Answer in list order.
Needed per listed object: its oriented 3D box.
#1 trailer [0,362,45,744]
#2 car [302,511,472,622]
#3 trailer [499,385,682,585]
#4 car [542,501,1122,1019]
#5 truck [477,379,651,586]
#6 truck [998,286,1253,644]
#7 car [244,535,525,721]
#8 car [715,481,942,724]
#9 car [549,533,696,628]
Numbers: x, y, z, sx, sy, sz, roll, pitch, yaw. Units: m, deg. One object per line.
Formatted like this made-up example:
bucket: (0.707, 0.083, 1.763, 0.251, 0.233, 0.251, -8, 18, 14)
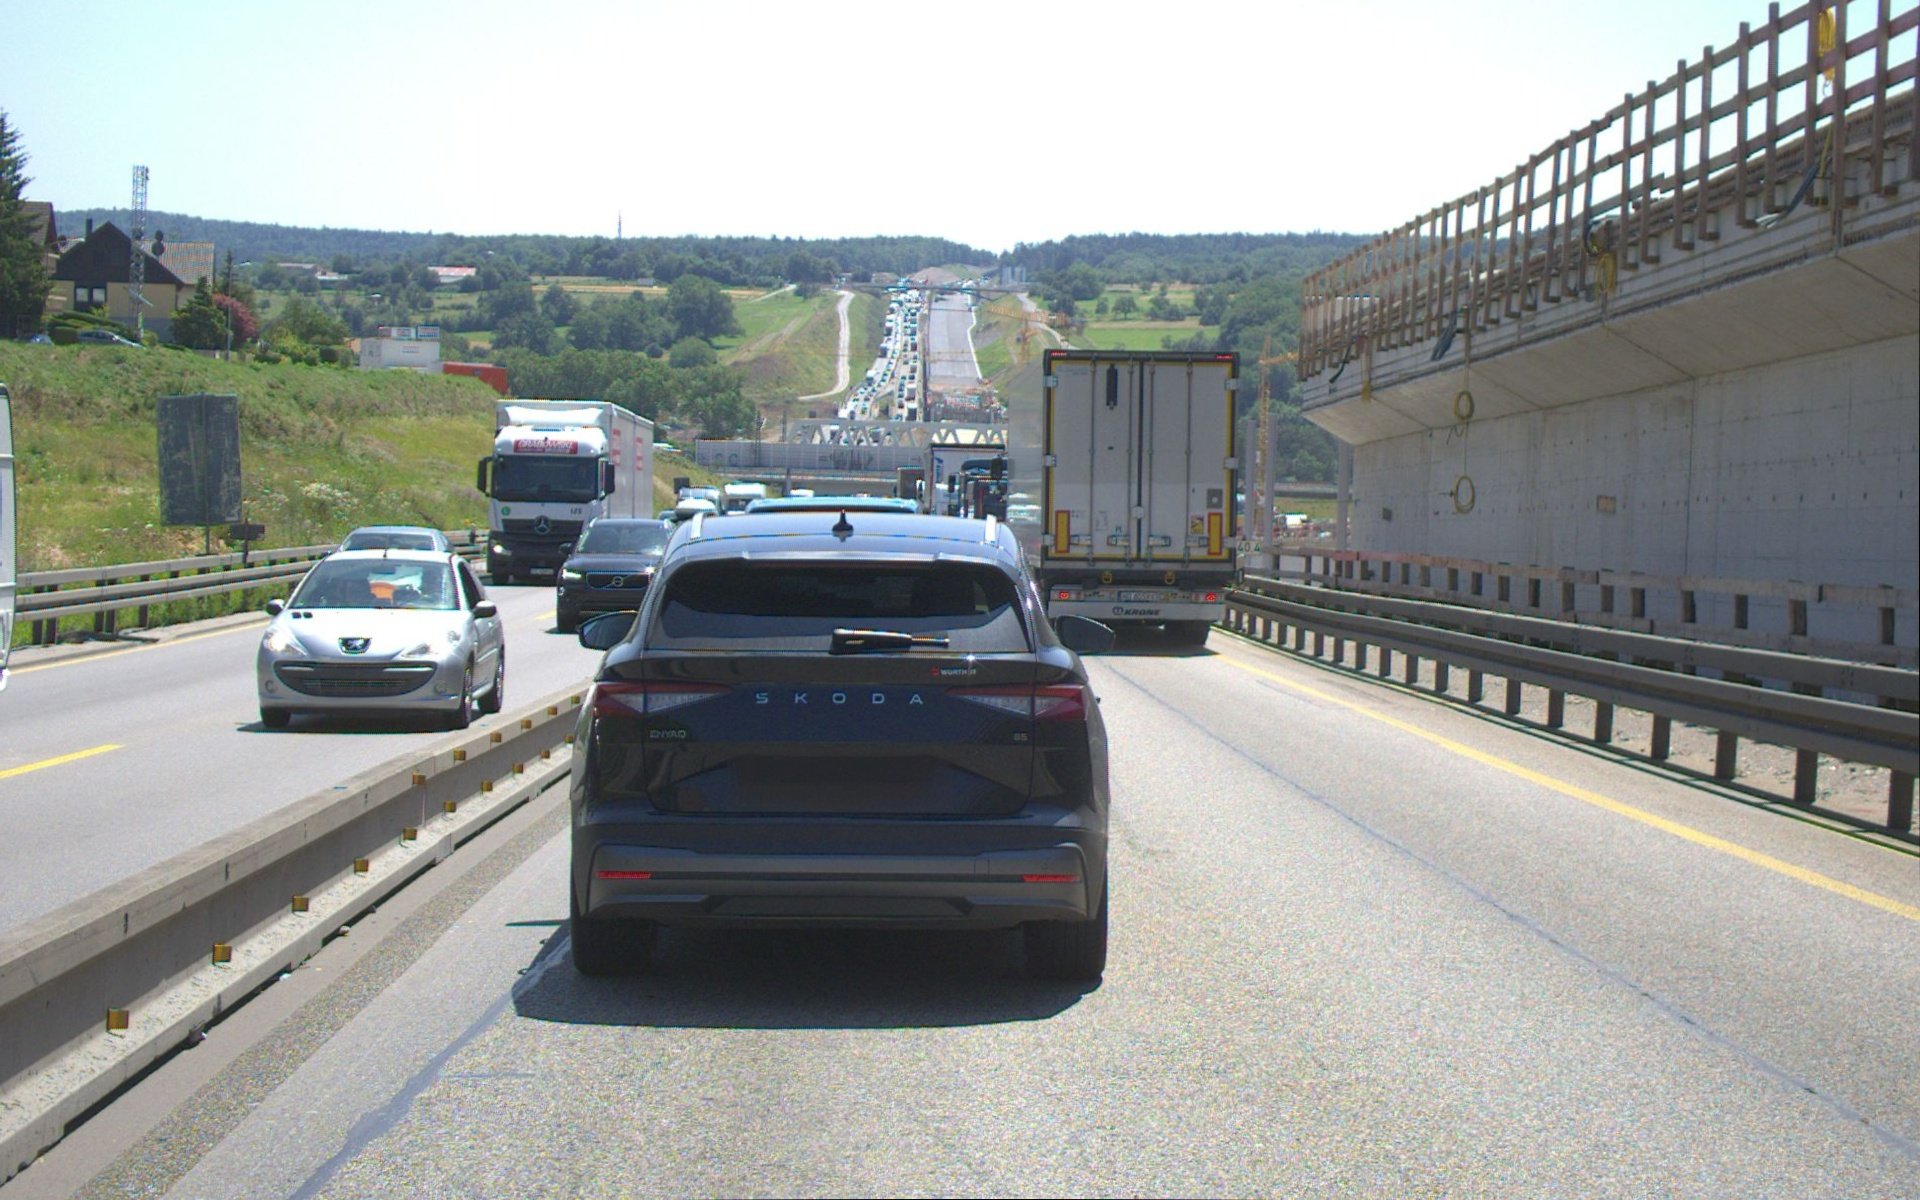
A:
trailer: (-7.774, -0.321, 21.699, 2.484, 2.604, 5.867, 0, 0, -1)
car: (-8.465, -0.482, 51.098, 1.872, 1.437, 4.000, 5, 0, -2)
trailer: (-8.934, -2.632, 84.908, 2.760, 4.259, 14.634, 5, 0, -1)
car: (-0.483, 0.478, 12.639, 1.782, 1.592, 3.755, 1, 1, -3)
truck: (-8.874, -2.541, 77.945, 2.753, 4.213, 8.099, 5, 0, -1)
truck: (2.243, -1.781, 51.031, 2.846, 4.599, 11.812, 2, 0, -1)
car: (-4.711, 0.212, 28.647, 1.702, 1.436, 4.000, 0, 0, -1)
car: (-1.200, -0.002, 30.049, 1.749, 1.889, 3.756, 3, 1, -4)
car: (-4.922, -0.284, 50.633, 1.771, 1.284, 4.000, 2, 0, -1)
